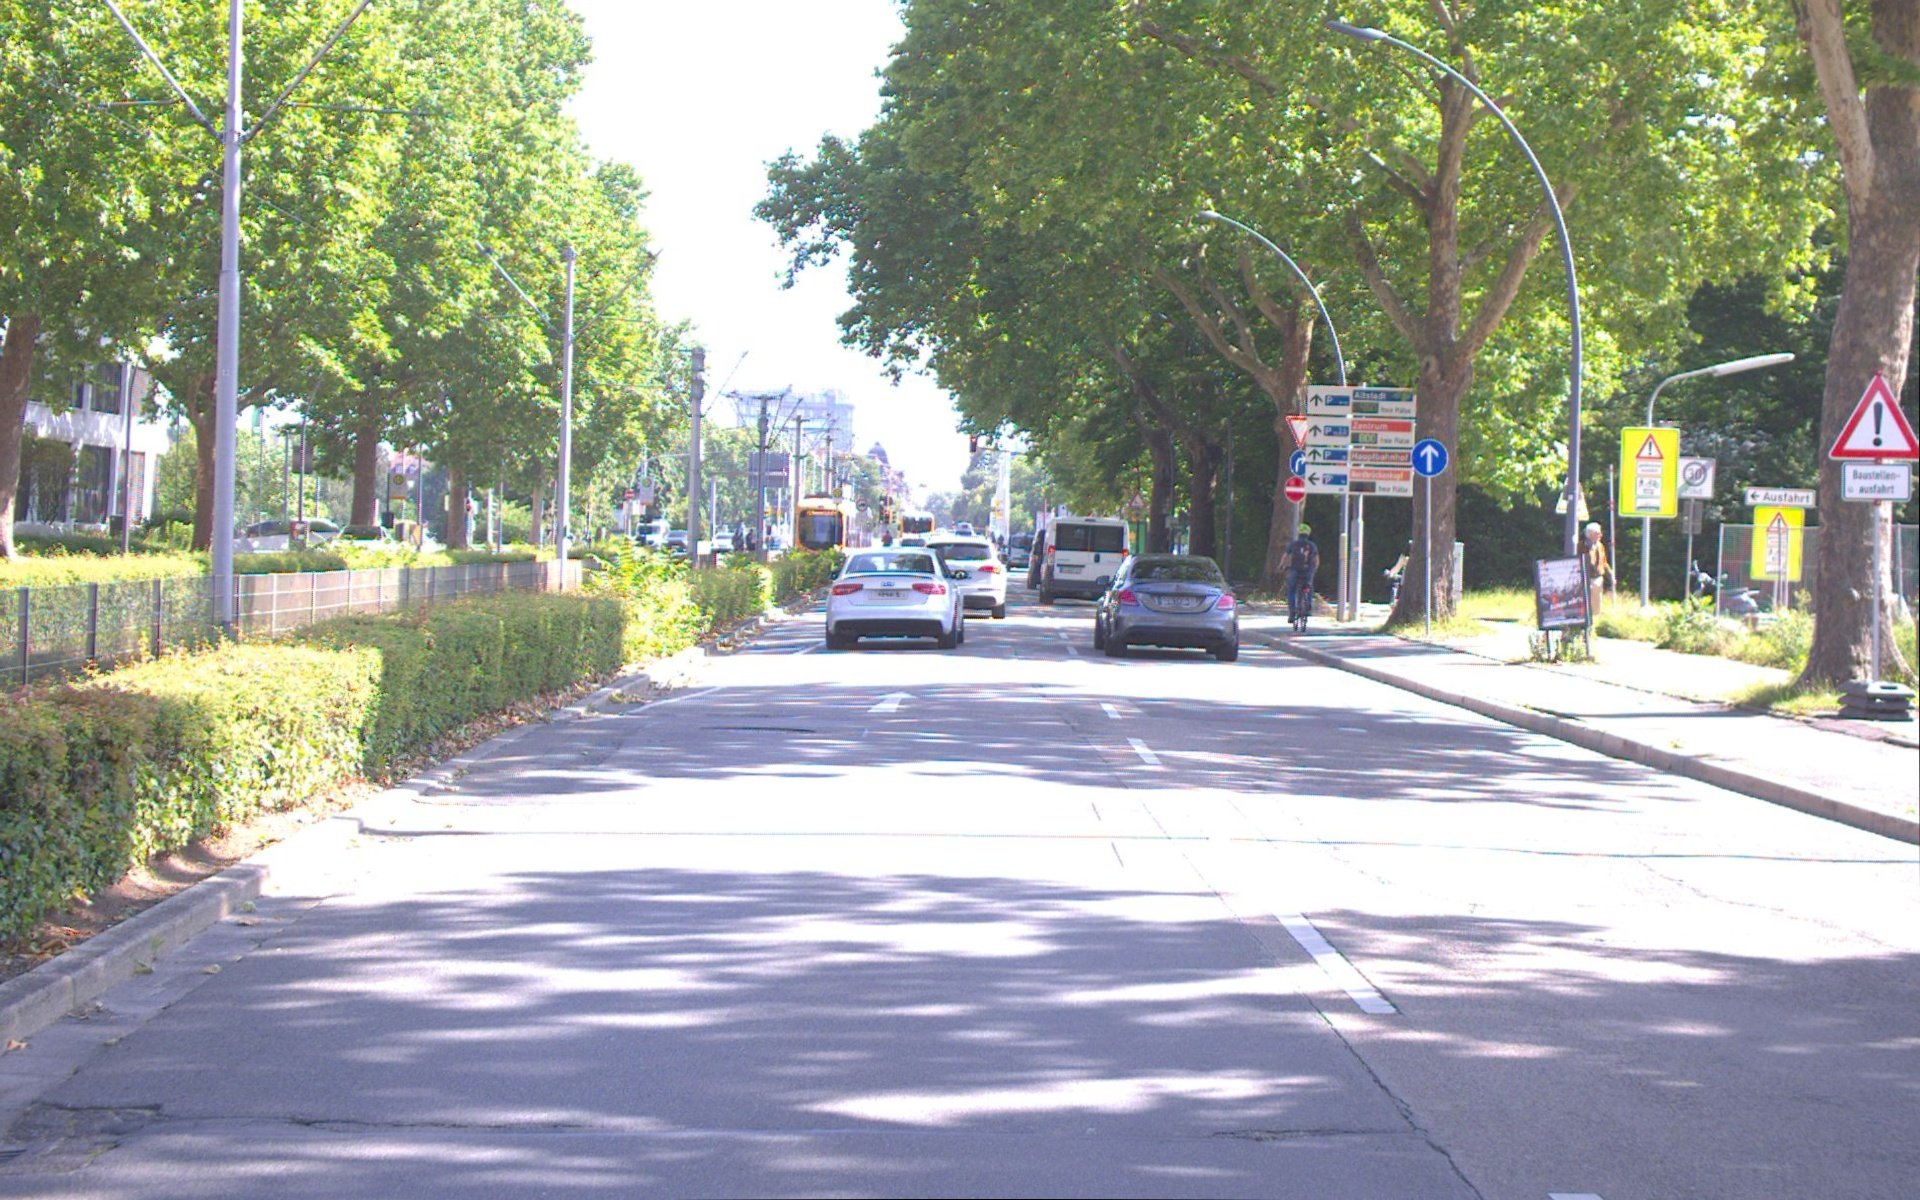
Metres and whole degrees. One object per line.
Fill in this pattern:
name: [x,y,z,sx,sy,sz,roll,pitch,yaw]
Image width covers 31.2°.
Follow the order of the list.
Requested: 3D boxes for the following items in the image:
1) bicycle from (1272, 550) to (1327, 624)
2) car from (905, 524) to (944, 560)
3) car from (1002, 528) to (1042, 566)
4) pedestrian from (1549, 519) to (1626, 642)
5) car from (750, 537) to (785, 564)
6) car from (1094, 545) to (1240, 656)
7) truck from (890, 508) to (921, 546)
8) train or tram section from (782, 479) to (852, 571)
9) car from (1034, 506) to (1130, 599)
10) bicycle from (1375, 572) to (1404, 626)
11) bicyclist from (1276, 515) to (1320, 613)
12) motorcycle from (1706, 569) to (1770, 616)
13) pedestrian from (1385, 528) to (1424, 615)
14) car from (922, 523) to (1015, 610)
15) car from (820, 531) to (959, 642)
bicycle: [5.803,-0.231,58.826,0.714,1.144,2.179,-1,3,0]
car: [-1.687,-2.775,163.929,1.729,1.625,4.000,2,1,1]
car: [3.318,-2.855,184.918,2.072,1.992,4.058,2,1,1]
pedestrian: [9.856,-0.318,54.011,0.939,1.886,1.151,2,1,1]
car: [-13.032,-3.370,233.117,1.993,1.728,4.000,2,1,1]
car: [2.854,-0.031,48.102,1.782,1.415,4.000,2,1,1]
truck: [-4.162,-5.566,262.613,1.993,2.780,8.518,2,1,1]
train or tram section: [-6.530,-3.416,157.714,2.617,4.001,7.749,2,1,1]
car: [3.043,-1.205,86.475,2.230,2.204,4.162,2,1,1]
bicycle: [8.917,-0.019,71.455,0.349,1.078,1.699,2,1,0]
bicyclist: [5.782,-0.628,58.828,0.634,1.642,0.979,-1,2,0]
motorcycle: [16.767,-0.165,74.073,1.219,0.964,0.471,2,1,-6]
pedestrian: [9.258,-0.597,71.642,0.632,1.779,0.874,2,1,0]
car: [0.182,-0.674,67.826,1.729,1.599,3.885,2,1,1]
car: [-0.953,-0.216,48.210,1.784,1.416,3.885,2,1,1]
